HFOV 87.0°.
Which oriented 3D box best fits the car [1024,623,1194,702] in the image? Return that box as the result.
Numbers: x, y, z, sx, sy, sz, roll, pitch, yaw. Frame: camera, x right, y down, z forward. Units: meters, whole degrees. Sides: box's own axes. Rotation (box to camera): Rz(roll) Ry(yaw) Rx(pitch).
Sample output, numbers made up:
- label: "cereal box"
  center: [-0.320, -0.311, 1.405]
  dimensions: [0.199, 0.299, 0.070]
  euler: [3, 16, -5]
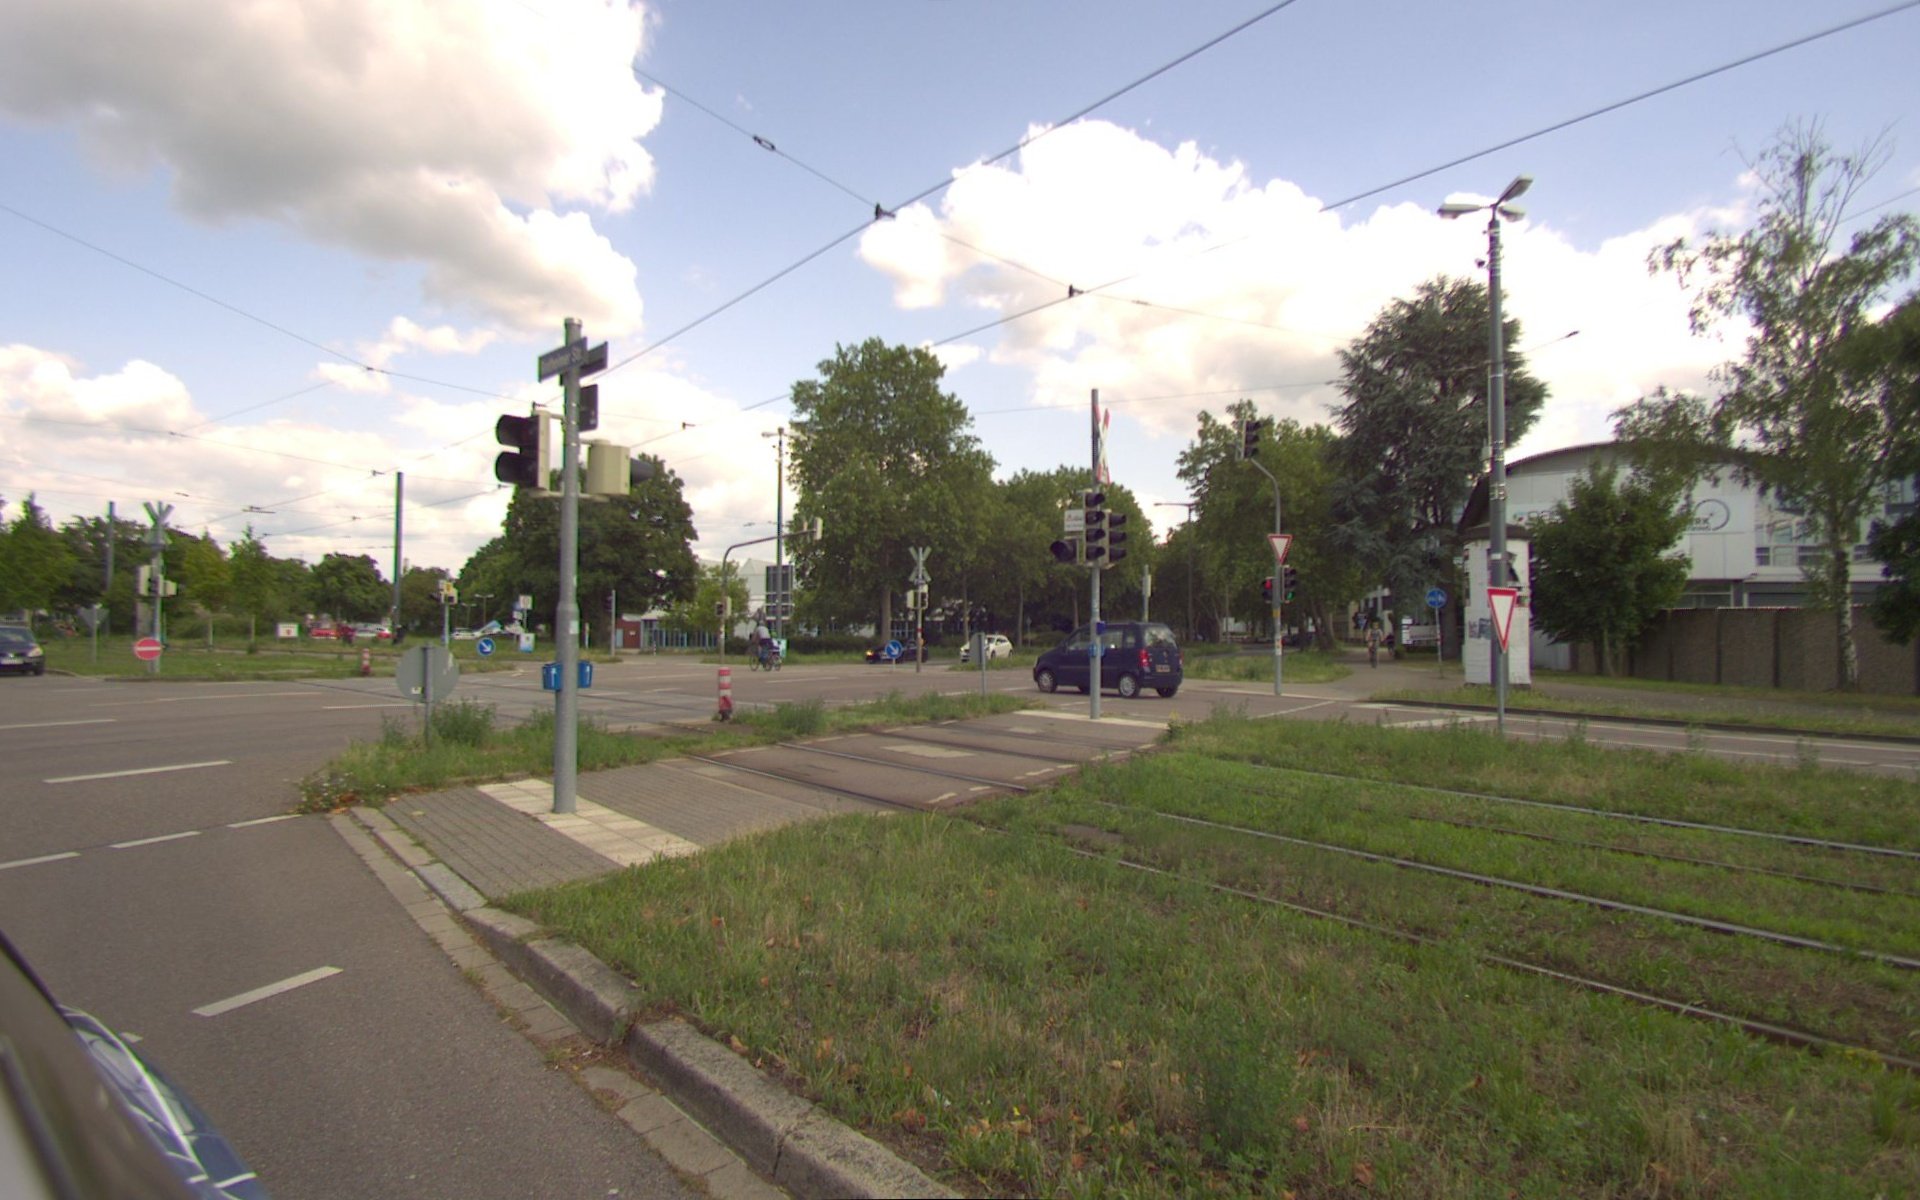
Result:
- label: "car"
  center: [3.333, 1.358, 22.995]
  dimensions: [1.758, 1.639, 3.498]
  euler: [2, -2, -44]

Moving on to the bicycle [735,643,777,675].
- label: "bicycle"
  center: [-7.261, 2.071, 35.968]
  dimensions: [0.638, 1.088, 1.807]
  euler: [2, -3, -42]

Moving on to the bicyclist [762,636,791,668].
- label: "bicyclist"
  center: [-6.643, 1.881, 36.668]
  dimensions: [0.631, 1.121, 0.930]
  euler: [2, -3, -42]

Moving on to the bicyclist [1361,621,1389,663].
- label: "bicyclist"
  center: [16.862, 1.714, 41.140]
  dimensions: [0.795, 1.647, 1.014]
  euler: [-2, -3, 11]

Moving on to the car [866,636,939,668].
- label: "car"
  center: [-2.885, 2.633, 51.417]
  dimensions: [1.695, 1.535, 3.811]
  euler: [-1, -2, 35]

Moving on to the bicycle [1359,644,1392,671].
- label: "bicycle"
  center: [16.875, 2.315, 41.135]
  dimensions: [0.796, 1.068, 2.062]
  euler: [-2, -3, 10]

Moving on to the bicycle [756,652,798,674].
- label: "bicycle"
  center: [-6.649, 2.281, 36.663]
  dimensions: [0.638, 0.723, 1.807]
  euler: [2, -3, -42]

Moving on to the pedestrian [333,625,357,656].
- label: "pedestrian"
  center: [-38.240, 2.528, 62.967]
  dimensions: [1.000, 1.882, 0.898]
  euler: [-1, -2, 34]

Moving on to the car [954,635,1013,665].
- label: "car"
  center: [1.288, 2.664, 54.271]
  dimensions: [1.690, 1.535, 3.876]
  euler: [0, -2, 26]

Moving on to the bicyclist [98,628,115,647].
- label: "bicyclist"
  center: [-69.956, 3.072, 82.940]
  dimensions: [0.828, 1.481, 0.797]
  euler: [-3, -3, 26]

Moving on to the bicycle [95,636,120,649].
- label: "bicycle"
  center: [-69.818, 3.486, 82.856]
  dimensions: [2.059, 1.068, 0.797]
  euler: [-3, -3, 27]

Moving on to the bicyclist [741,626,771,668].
- label: "bicyclist"
  center: [-7.252, 1.671, 35.961]
  dimensions: [0.615, 1.468, 0.930]
  euler: [2, -3, -42]

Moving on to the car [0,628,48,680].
- label: "car"
  center: [-30.398, 1.674, 31.887]
  dimensions: [3.994, 1.551, 1.773]
  euler: [-1, -2, 38]

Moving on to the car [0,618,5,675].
- label: "car"
  center: [-35.261, 1.630, 35.556]
  dimensions: [4.361, 1.950, 1.774]
  euler: [-1, -2, 37]
